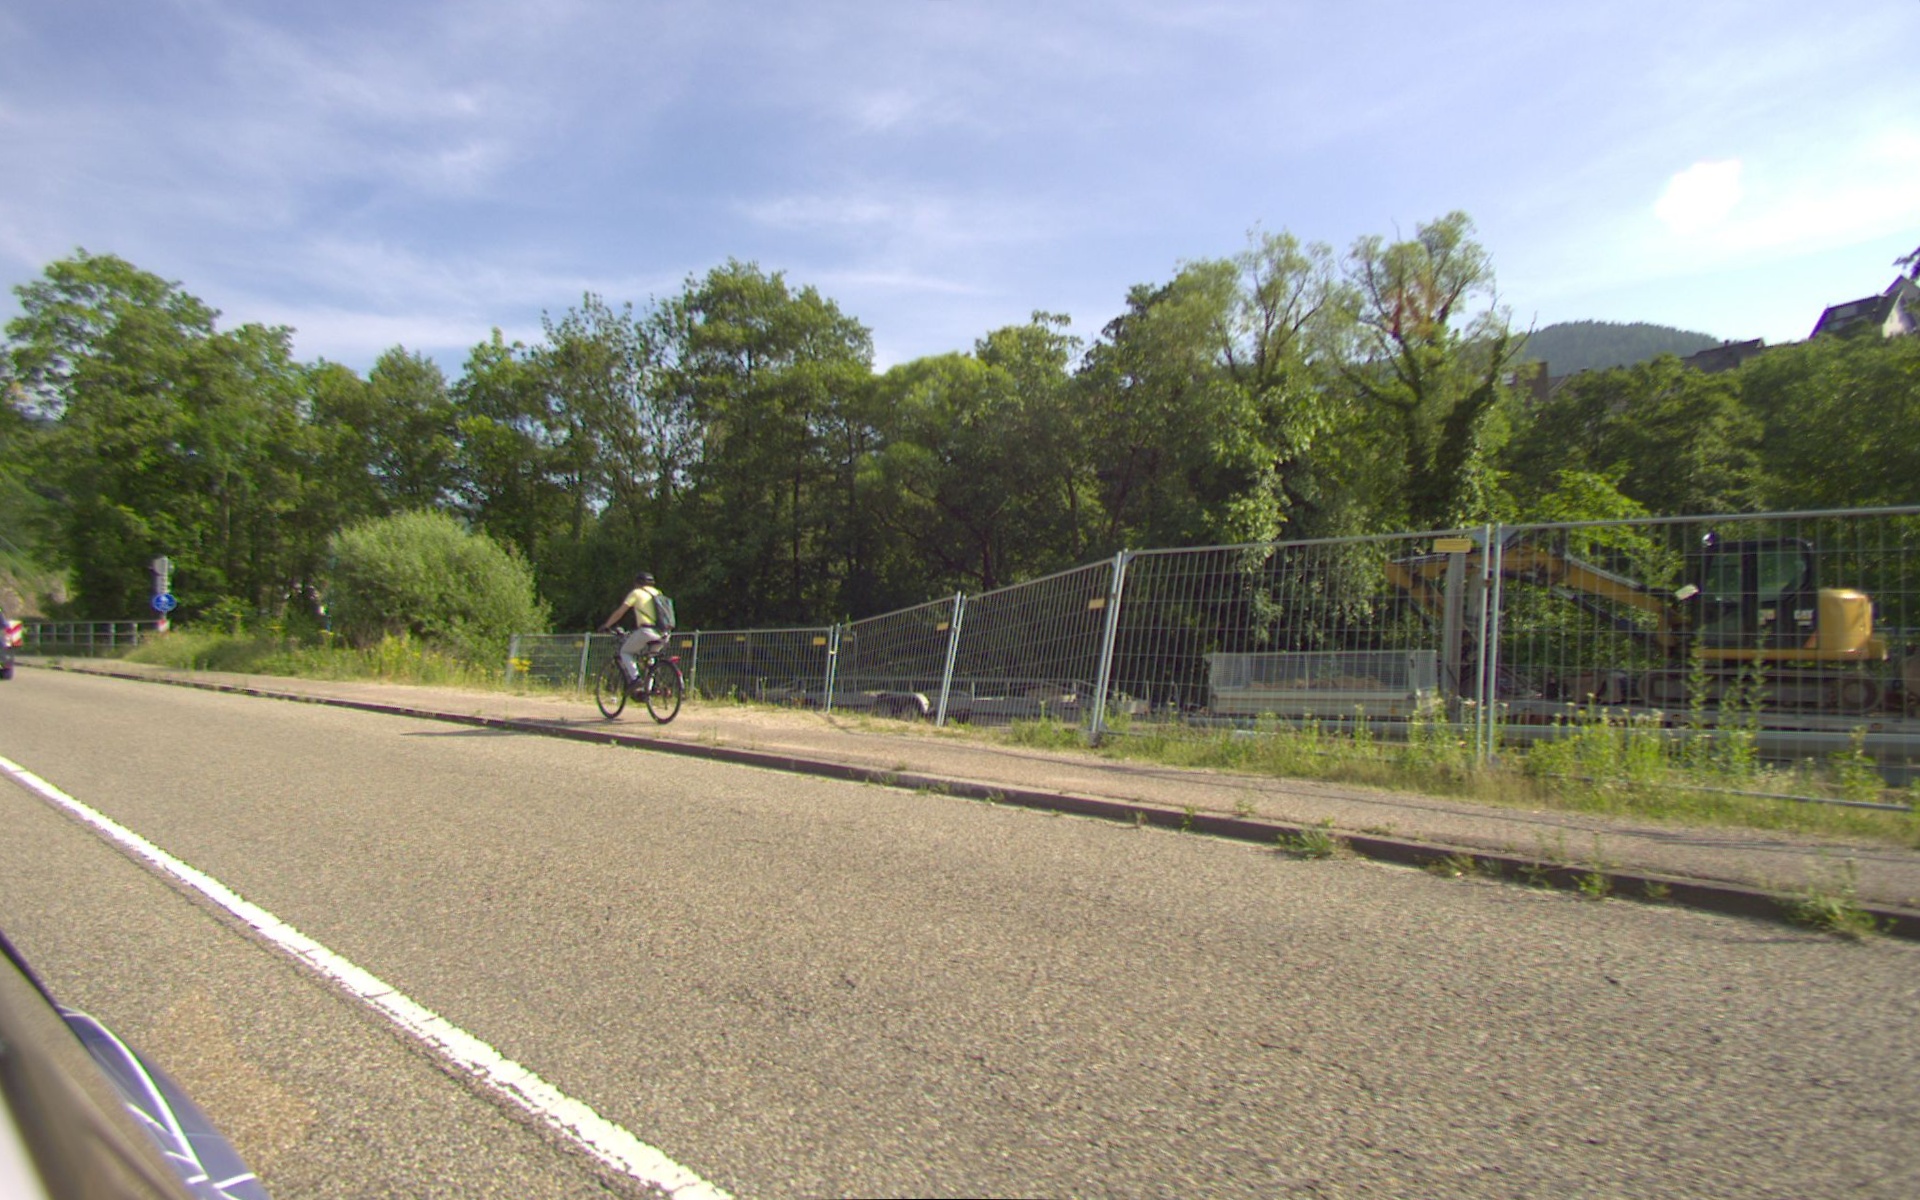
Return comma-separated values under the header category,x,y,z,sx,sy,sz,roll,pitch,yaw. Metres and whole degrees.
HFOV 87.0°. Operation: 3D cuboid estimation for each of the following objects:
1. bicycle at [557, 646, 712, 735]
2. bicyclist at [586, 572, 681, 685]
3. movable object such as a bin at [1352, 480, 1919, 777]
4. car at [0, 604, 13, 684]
category,x,y,z,sx,sy,sz,roll,pitch,yaw
bicycle,-3.775,0.996,11.619,2.250,0.888,0.534,-1,0,39
bicyclist,-3.742,0.322,11.594,0.857,1.234,0.677,-1,-1,38
movable object such as a bin,11.747,0.470,16.069,9.973,3.977,2.674,-1,-4,37
car,-23.961,1.050,23.838,4.680,1.798,1.832,-1,0,40
